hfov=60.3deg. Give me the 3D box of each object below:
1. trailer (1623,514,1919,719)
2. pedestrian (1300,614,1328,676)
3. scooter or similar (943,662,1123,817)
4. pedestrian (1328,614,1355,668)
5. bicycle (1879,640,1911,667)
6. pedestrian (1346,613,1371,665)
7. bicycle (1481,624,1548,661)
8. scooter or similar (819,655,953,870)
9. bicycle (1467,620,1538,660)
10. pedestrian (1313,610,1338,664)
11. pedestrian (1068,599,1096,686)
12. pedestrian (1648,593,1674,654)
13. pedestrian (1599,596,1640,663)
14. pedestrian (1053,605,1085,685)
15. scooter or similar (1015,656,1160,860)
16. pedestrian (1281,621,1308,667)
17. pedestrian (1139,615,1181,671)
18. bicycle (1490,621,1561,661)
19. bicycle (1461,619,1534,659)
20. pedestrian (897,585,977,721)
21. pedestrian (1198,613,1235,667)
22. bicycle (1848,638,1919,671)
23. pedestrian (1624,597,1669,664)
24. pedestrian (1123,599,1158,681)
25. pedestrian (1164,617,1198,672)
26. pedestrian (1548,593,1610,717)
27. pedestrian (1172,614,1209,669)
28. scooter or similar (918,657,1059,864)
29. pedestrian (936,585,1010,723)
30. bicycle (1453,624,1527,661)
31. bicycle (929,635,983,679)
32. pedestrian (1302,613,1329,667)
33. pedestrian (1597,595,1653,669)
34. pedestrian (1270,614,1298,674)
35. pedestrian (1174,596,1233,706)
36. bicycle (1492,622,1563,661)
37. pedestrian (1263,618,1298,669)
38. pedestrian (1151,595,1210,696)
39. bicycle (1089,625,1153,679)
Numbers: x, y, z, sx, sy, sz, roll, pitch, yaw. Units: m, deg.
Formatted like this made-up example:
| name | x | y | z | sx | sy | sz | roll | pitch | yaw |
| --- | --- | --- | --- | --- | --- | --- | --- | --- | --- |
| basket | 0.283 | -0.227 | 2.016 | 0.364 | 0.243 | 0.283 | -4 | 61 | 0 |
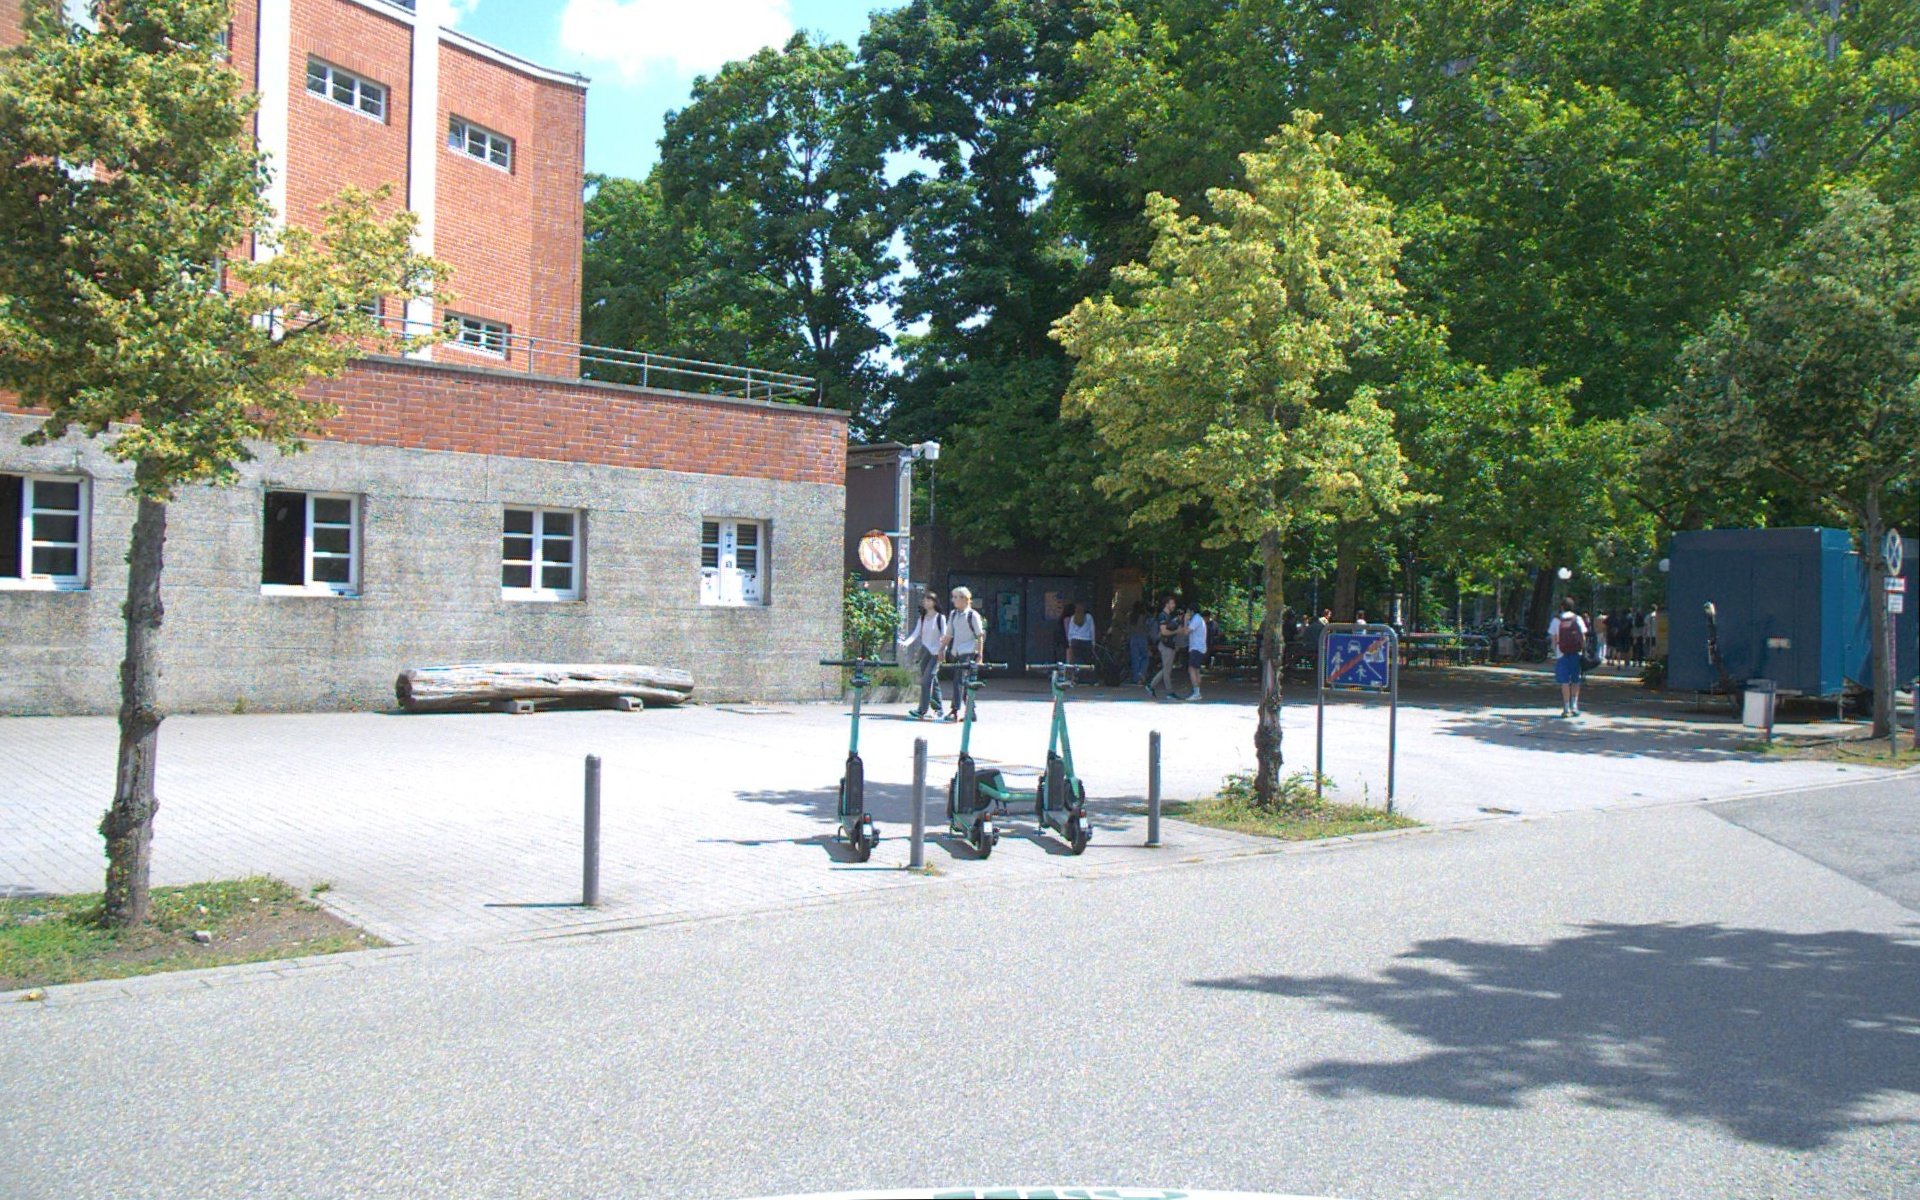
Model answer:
| name | x | y | z | sx | sy | sz | roll | pitch | yaw |
| --- | --- | --- | --- | --- | --- | --- | --- | --- | --- |
| trailer | 13.993 | 0.262 | 27.929 | 6.212 | 3.079 | 2.665 | 1 | 0 | -42 |
| pedestrian | 8.406 | 1.059 | 39.251 | 0.580 | 1.393 | 0.743 | 1 | 2 | 15 |
| scooter or similar | 0.589 | 1.092 | 13.217 | 1.331 | 1.169 | 0.559 | 2 | -1 | -30 |
| pedestrian | 9.194 | 0.981 | 39.841 | 0.580 | 1.255 | 0.743 | 1 | 2 | 15 |
| bicycle | 39.781 | 2.283 | 70.350 | 1.956 | 1.105 | 0.545 | 2 | 1 | -42 |
| pedestrian | 11.367 | 1.105 | 47.154 | 0.497 | 1.447 | 0.458 | 2 | 0 | 39 |
| bicycle | 17.695 | 1.350 | 52.803 | 1.977 | 1.138 | 0.581 | 0 | -1 | 41 |
| scooter or similar | -0.513 | 1.014 | 10.808 | 0.559 | 1.246 | 1.569 | 2 | 0 | -14 |
| bicycle | 16.351 | 1.196 | 49.863 | 1.977 | 1.138 | 0.581 | 0 | -1 | 41 |
| pedestrian | 10.525 | 1.064 | 47.612 | 0.497 | 1.549 | 0.472 | 2 | 0 | 38 |
| pedestrian | 2.493 | 0.859 | 33.815 | 0.517 | 1.740 | 0.448 | 2 | 1 | 5 |
| pedestrian | 22.332 | 0.744 | 52.713 | 0.576 | 1.937 | 0.517 | 1 | -1 | -1 |
| pedestrian | 20.257 | 0.913 | 50.830 | 0.804 | 1.982 | 0.852 | 3 | 1 | -4 |
| pedestrian | 2.257 | 0.921 | 34.307 | 0.591 | 1.621 | 0.413 | 2 | 1 | 7 |
| scooter or similar | 0.847 | 1.043 | 11.401 | 0.514 | 1.246 | 1.569 | 2 | 0 | -14 |
| pedestrian | 9.133 | 1.192 | 45.150 | 0.385 | 1.215 | 0.727 | 2 | 0 | 39 |
| pedestrian | 4.887 | 1.048 | 40.448 | 0.771 | 1.346 | 0.680 | 1 | -1 | -40 |
| bicycle | 17.152 | 1.238 | 50.178 | 1.977 | 1.138 | 0.581 | 0 | -1 | 41 |
| bicycle | 15.956 | 1.156 | 49.116 | 1.977 | 1.138 | 0.581 | 0 | -1 | 41 |
| pedestrian | -0.307 | 0.715 | 22.539 | 0.909 | 1.811 | 0.569 | 2 | -1 | -42 |
| pedestrian | 6.255 | 0.972 | 40.336 | 0.687 | 1.293 | 0.554 | 2 | 0 | -41 |
| bicycle | 31.637 | 1.863 | 55.963 | 2.667 | 1.020 | 0.883 | 2 | 0 | 6 |
| pedestrian | 21.062 | 0.932 | 50.766 | 0.899 | 1.982 | 0.891 | 3 | 1 | -4 |
| pedestrian | 3.817 | 0.833 | 34.990 | 0.662 | 1.679 | 0.503 | 2 | 1 | 10 |
| pedestrian | 5.515 | 1.102 | 41.240 | 0.554 | 1.346 | 0.637 | 1 | -1 | -40 |
| pedestrian | 9.721 | 0.849 | 26.019 | 0.833 | 1.867 | 0.879 | 1 | 2 | 18 |
| pedestrian | 5.529 | 0.990 | 39.700 | 0.687 | 1.293 | 0.554 | 2 | 0 | -41 |
| scooter or similar | 0.166 | 1.046 | 11.247 | 0.553 | 1.246 | 1.569 | 2 | 0 | -14 |
| pedestrian | 0.173 | 0.714 | 22.091 | 0.799 | 1.793 | 0.556 | 2 | -1 | -42 |
| bicycle | 15.454 | 1.221 | 48.267 | 1.977 | 1.025 | 0.581 | 0 | -1 | 41 |
| bicycle | -0.073 | 1.199 | 34.925 | 1.220 | 0.899 | 0.300 | 2 | -1 | -40 |
| pedestrian | 8.619 | 0.962 | 40.044 | 0.580 | 1.255 | 0.743 | 1 | 2 | 15 |
| pedestrian | 18.827 | 0.894 | 46.838 | 1.099 | 1.982 | 0.891 | 3 | 1 | -4 |
| pedestrian | 7.795 | 1.047 | 39.743 | 0.580 | 1.393 | 0.704 | 1 | 2 | 15 |
| pedestrian | 4.214 | 0.883 | 28.630 | 0.862 | 1.852 | 0.448 | 3 | -2 | -14 |
| bicycle | 17.468 | 1.274 | 50.921 | 1.977 | 1.138 | 0.581 | 0 | -1 | 41 |
| pedestrian | 8.280 | 1.110 | 42.715 | 0.559 | 1.272 | 0.764 | 2 | 0 | 37 |
| pedestrian | 3.896 | 0.805 | 29.275 | 0.862 | 1.750 | 0.488 | 3 | -2 | -14 |
| bicycle | 3.469 | 1.113 | 35.634 | 1.317 | 1.095 | 0.417 | 2 | -2 | 5 |
